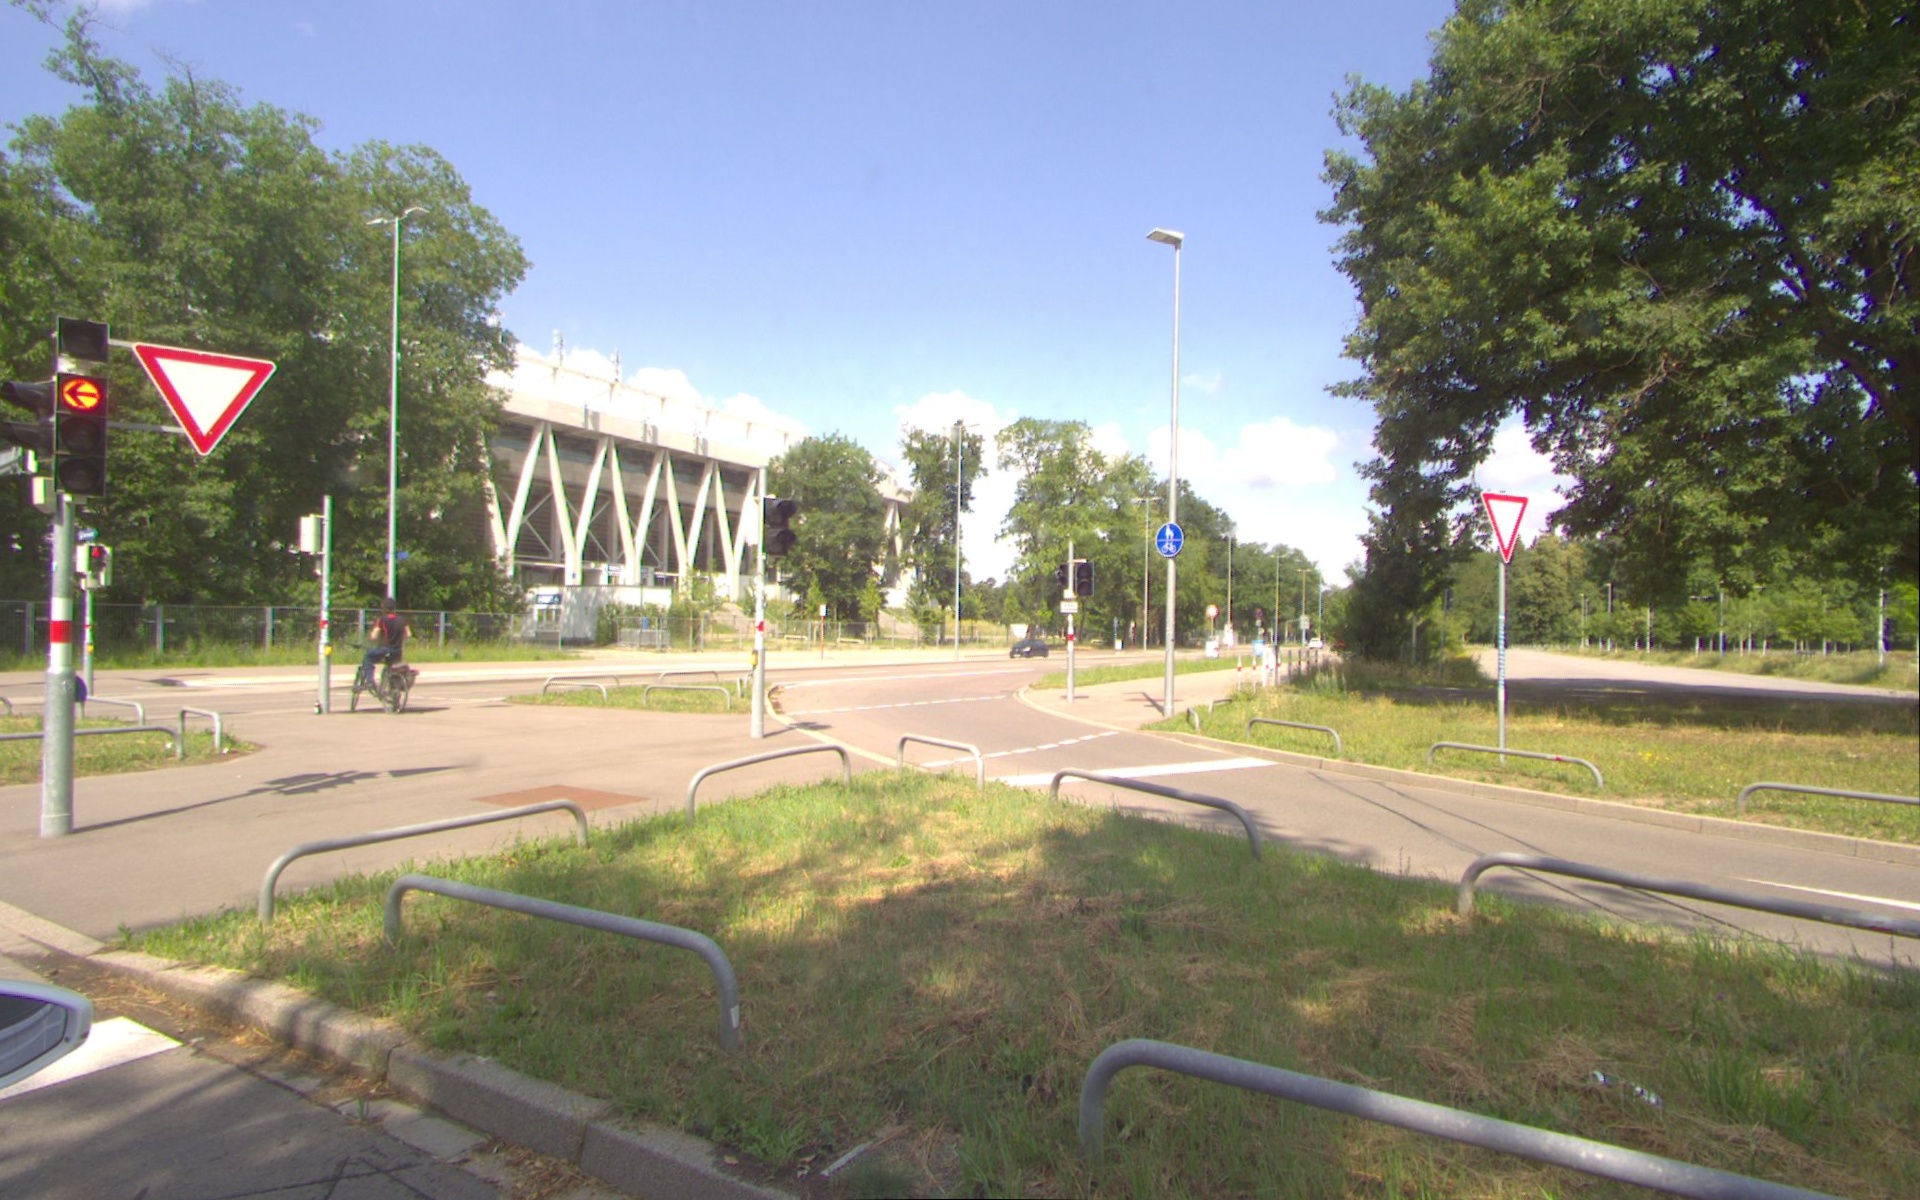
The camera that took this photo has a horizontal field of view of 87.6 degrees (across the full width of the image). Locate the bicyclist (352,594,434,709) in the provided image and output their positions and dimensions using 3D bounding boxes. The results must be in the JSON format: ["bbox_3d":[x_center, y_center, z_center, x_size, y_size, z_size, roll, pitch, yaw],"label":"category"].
[{"bbox_3d":[-9.299,0.833,16.430,0.967,1.820,0.881,-1,-2,40],"label":"bicyclist"}]

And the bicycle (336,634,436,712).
[{"bbox_3d":[-9.524,1.171,16.592,1.876,1.221,0.876,-2,-2,42],"label":"bicycle"}]

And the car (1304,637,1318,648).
[{"bbox_3d":[51.954,6.305,148.135,1.334,1.544,3.460,-1,-2,31],"label":"car"}]

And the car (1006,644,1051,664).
[{"bbox_3d":[5.046,3.944,73.169,1.580,1.395,3.956,-1,-2,32],"label":"car"}]
